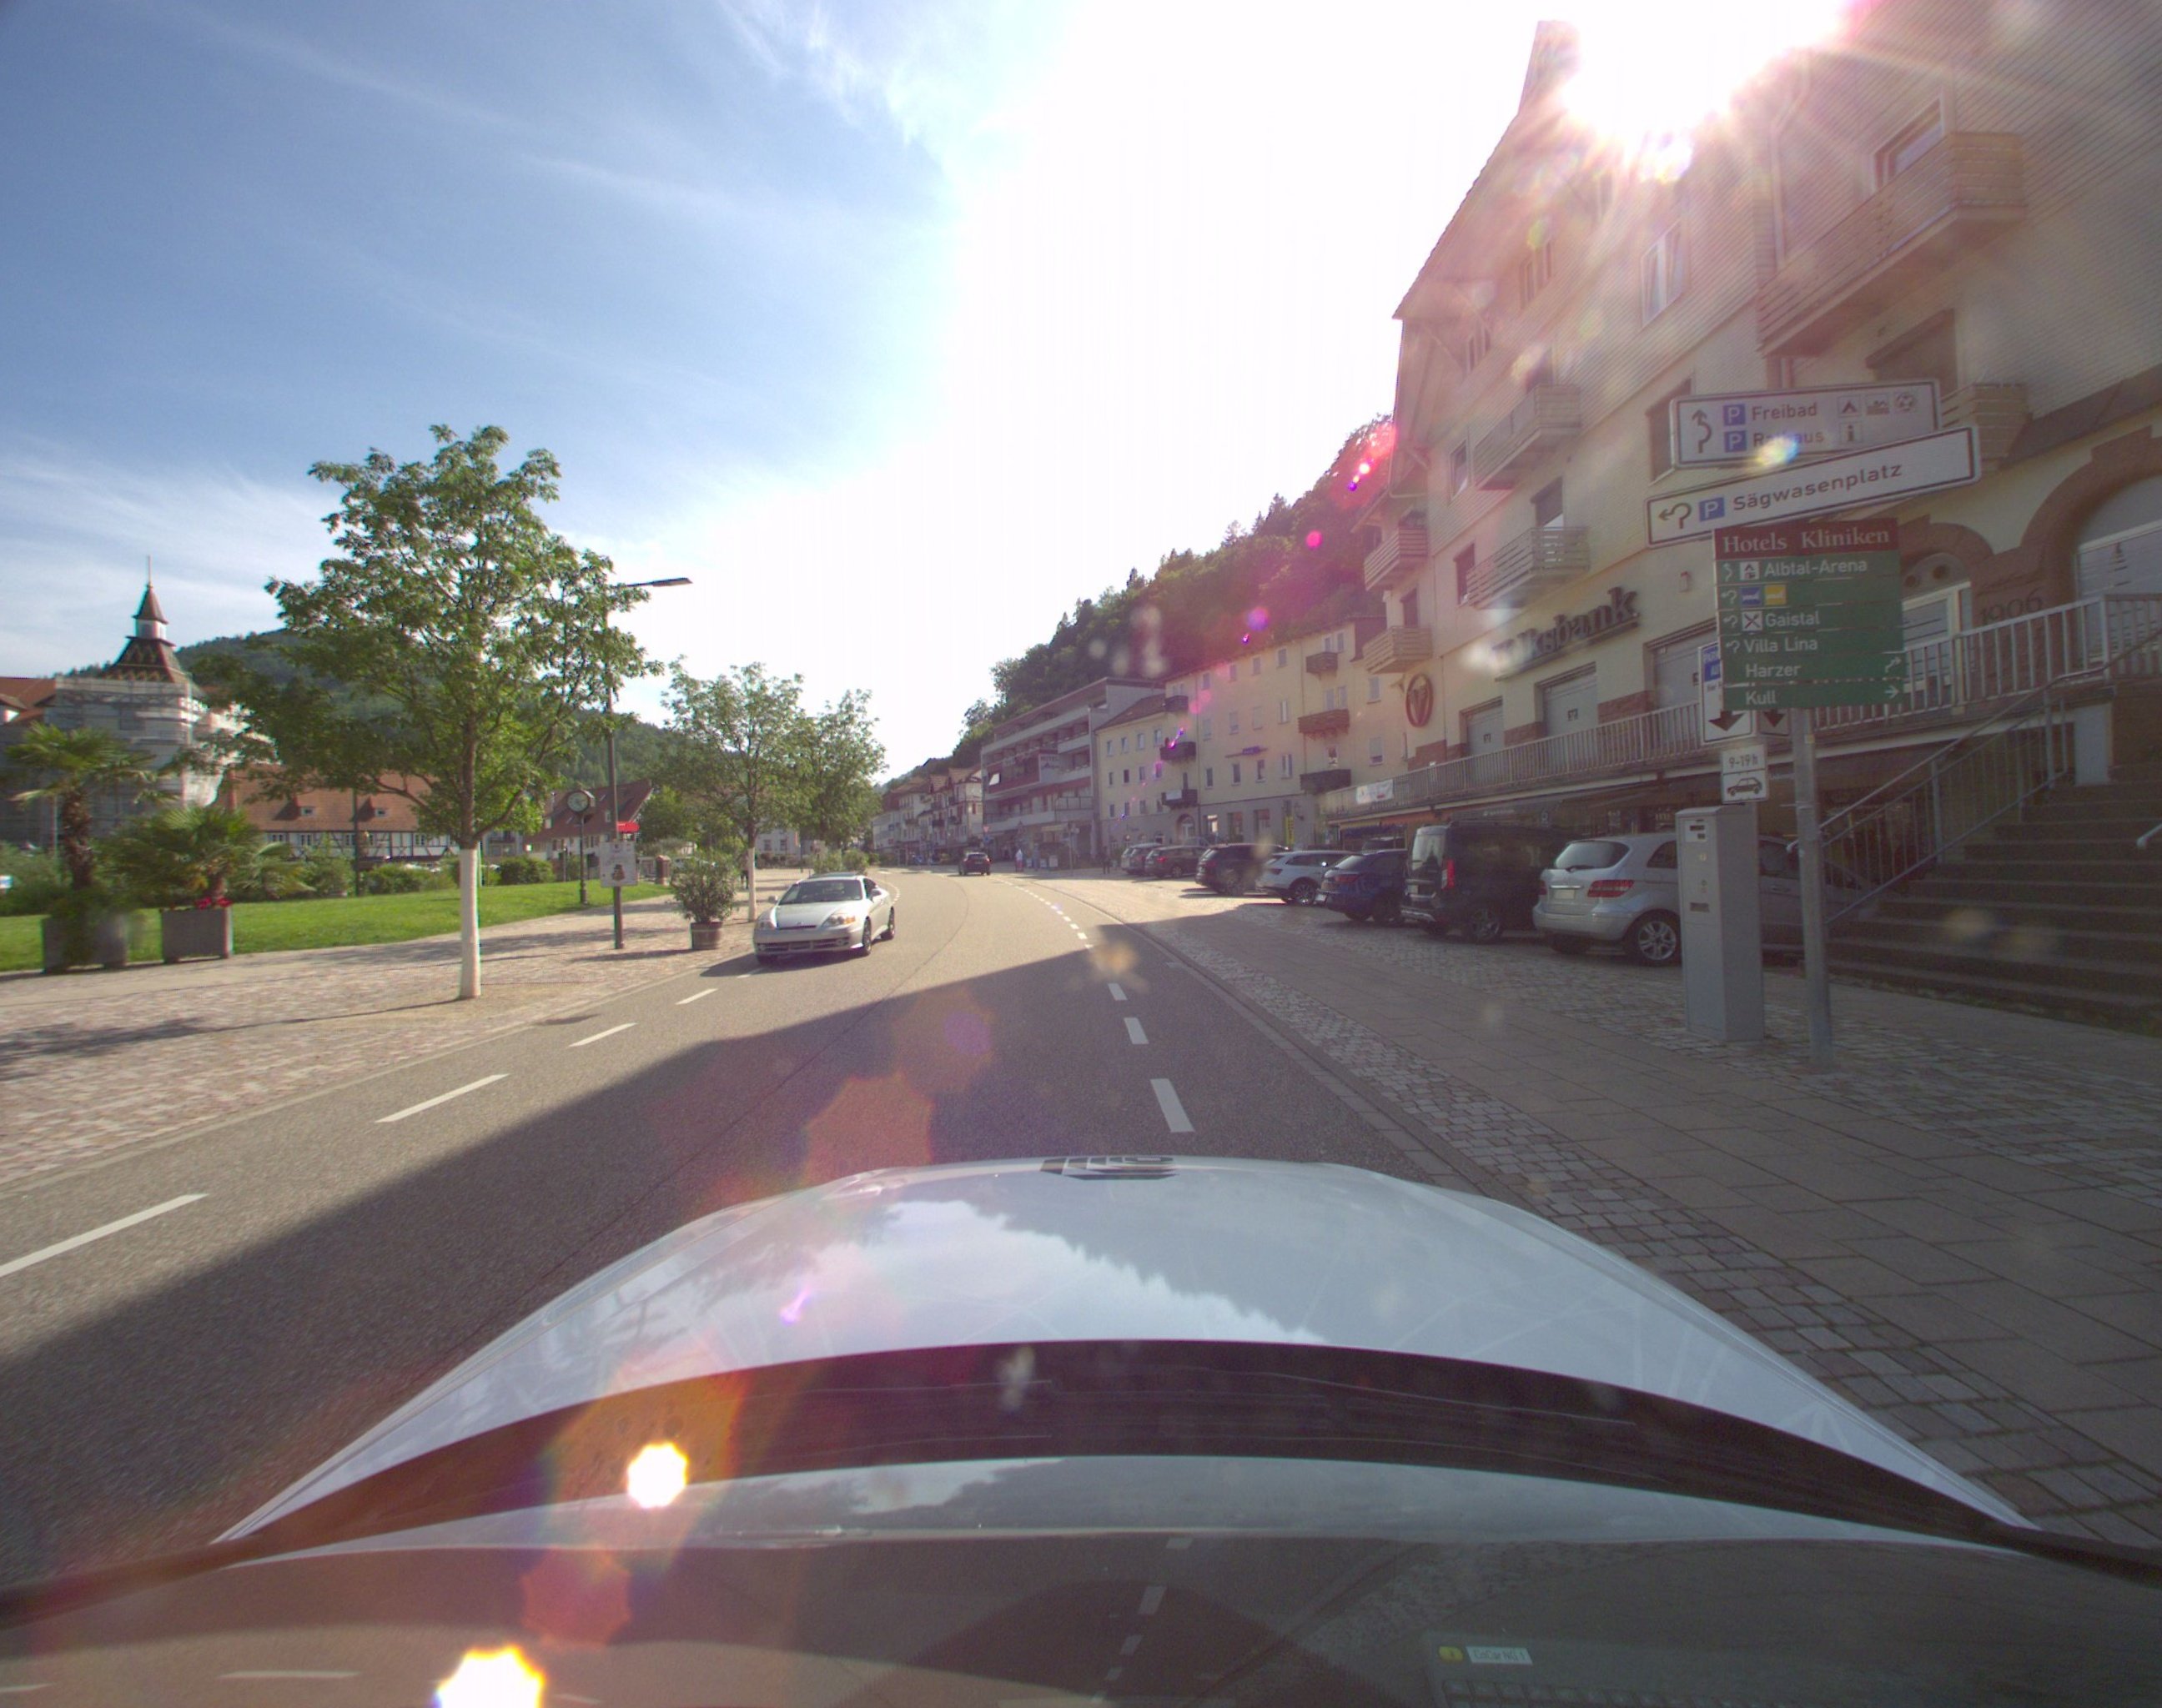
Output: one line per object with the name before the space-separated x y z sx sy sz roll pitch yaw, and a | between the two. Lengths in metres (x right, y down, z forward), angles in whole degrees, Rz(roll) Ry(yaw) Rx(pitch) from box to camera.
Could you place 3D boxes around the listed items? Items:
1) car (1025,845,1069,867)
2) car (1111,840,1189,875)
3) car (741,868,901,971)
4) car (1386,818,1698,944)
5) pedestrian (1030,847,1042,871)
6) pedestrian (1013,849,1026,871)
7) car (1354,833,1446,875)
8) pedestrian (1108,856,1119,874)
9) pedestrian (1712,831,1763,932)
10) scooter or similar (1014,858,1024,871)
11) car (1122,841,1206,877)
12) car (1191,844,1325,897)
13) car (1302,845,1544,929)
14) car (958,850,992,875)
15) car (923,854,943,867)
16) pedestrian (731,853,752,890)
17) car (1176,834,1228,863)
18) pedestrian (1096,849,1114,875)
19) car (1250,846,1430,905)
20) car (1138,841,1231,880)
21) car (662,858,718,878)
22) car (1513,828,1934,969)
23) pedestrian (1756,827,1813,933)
car | -2.738 0.157 65.400 3.175 1.663 1.583 -2 0 -21
car | 3.828 0.179 45.210 3.876 1.612 1.760 -5 2 -21
car | -4.353 1.017 14.278 1.624 1.370 4.058 -4 0 -4
car | 7.092 0.408 12.824 3.897 1.804 1.857 1 -1 -1
pedestrian | -3.280 0.370 59.325 0.672 1.728 0.702 -2 0 -23
pedestrian | -4.490 0.451 59.601 0.760 1.594 0.623 -2 0 -23
car | 13.804 -0.020 35.137 3.938 1.609 1.754 -3 2 -34
pedestrian | 1.901 0.653 47.092 0.413 1.002 0.534 -4 0 22
pedestrian | 11.156 0.461 13.854 0.409 1.658 0.435 -4 0 7
scooter or similar | -4.552 0.751 59.768 0.599 0.950 0.470 -2 0 -24
car | 4.312 0.232 42.218 3.876 1.549 1.760 -5 2 -21
car | 5.822 0.523 27.085 4.071 1.666 1.772 1 0 -1
car | 6.400 0.598 15.523 3.897 1.461 1.735 1 0 -1
car | -7.288 0.573 55.788 1.731 1.574 3.733 -2 1 -16
car | -19.736 0.912 108.356 1.684 1.620 3.967 -1 0 -25
pedestrian | -16.828 0.850 40.378 0.870 1.815 0.686 -2 0 -22
car | 8.742 -0.398 59.061 1.870 2.013 3.641 -1 1 -31
pedestrian | 1.389 0.462 47.151 0.728 1.442 0.637 -4 0 32
car | 6.902 0.584 22.033 4.340 1.461 1.773 -1 -2 1
car | 4.932 0.288 38.886 4.025 1.516 1.760 -5 2 -21
car | -35.721 1.255 74.472 4.165 1.616 1.686 -2 0 -7
car | 7.788 0.504 10.146 3.898 1.589 1.774 0 0 -1
pedestrian | 11.362 0.414 13.156 0.457 1.658 0.432 -4 0 -18
